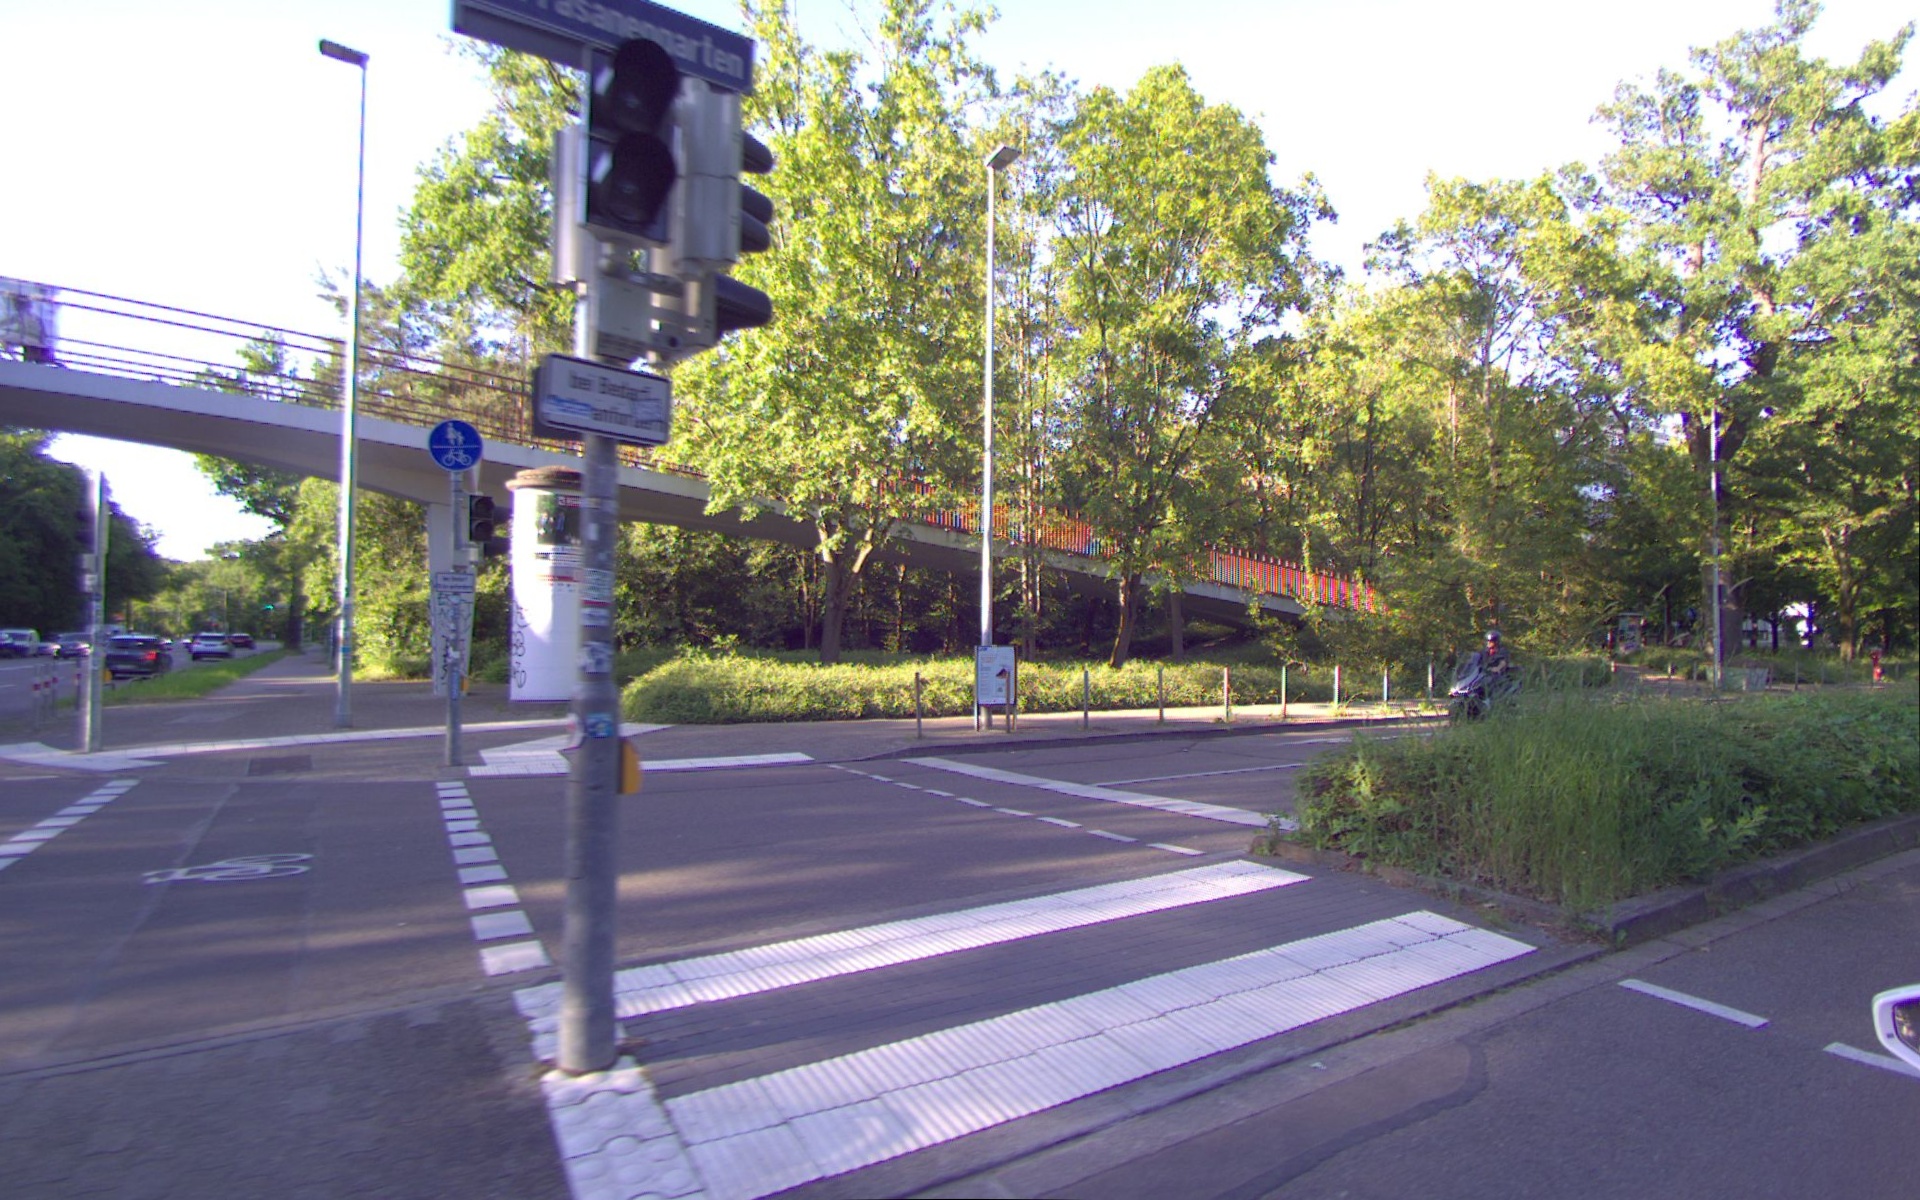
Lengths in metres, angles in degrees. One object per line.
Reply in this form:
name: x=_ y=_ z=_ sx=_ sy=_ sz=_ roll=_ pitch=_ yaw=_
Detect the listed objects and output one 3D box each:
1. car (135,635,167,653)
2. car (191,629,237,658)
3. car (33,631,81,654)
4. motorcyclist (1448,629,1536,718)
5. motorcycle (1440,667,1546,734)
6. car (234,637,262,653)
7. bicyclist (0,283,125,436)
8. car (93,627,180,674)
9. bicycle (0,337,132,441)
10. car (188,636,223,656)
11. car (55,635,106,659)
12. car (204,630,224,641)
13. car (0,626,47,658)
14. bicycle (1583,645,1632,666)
car: x=-78.267 y=4.261 z=97.239 sx=1.875 sy=1.589 sz=4.357 roll=3 pitch=-3 yaw=-32
car: x=-41.860 y=2.437 z=56.415 sx=1.664 sy=1.543 sz=3.868 roll=5 pitch=-4 yaw=-31
car: x=-67.140 y=3.166 z=74.745 sx=1.875 sy=1.566 sz=4.357 roll=3 pitch=-3 yaw=-32
motorcyclist: x=9.261 y=1.263 z=17.503 sx=1.057 sy=1.490 sz=0.944 roll=2 pitch=-2 yaw=-30
motorcycle: x=9.238 y=1.709 z=17.372 sx=2.261 sy=1.082 sz=0.520 roll=2 pitch=-2 yaw=-31
car: x=-69.918 y=4.417 z=98.657 sx=1.946 sy=1.526 sz=4.607 roll=2 pitch=-3 yaw=-32
bicyclist: x=-16.486 y=-4.313 z=18.214 sx=1.665 sy=2.196 sz=1.401 roll=5 pitch=-4 yaw=-30
car: x=-28.300 y=1.726 z=34.622 sx=1.695 sy=1.471 sz=3.609 roll=6 pitch=-5 yaw=-31
bicycle: x=-16.619 y=-3.831 z=18.059 sx=2.421 sy=1.390 sz=1.043 roll=6 pitch=-4 yaw=-30
car: x=-58.725 y=3.557 z=78.232 sx=1.737 sy=1.475 sz=3.609 roll=5 pitch=-4 yaw=-32
car: x=-48.516 y=2.593 z=55.477 sx=1.450 sy=1.260 sz=3.965 roll=2 pitch=-3 yaw=-32
car: x=-103.871 y=4.916 z=139.929 sx=1.875 sy=1.519 sz=4.357 roll=3 pitch=-3 yaw=-32
car: x=-61.552 y=2.723 z=65.628 sx=1.932 sy=2.001 sz=4.358 roll=3 pitch=-3 yaw=-32
bicycle: x=37.408 y=3.212 z=58.063 sx=2.380 sy=1.086 sz=0.537 roll=1 pitch=1 yaw=6
